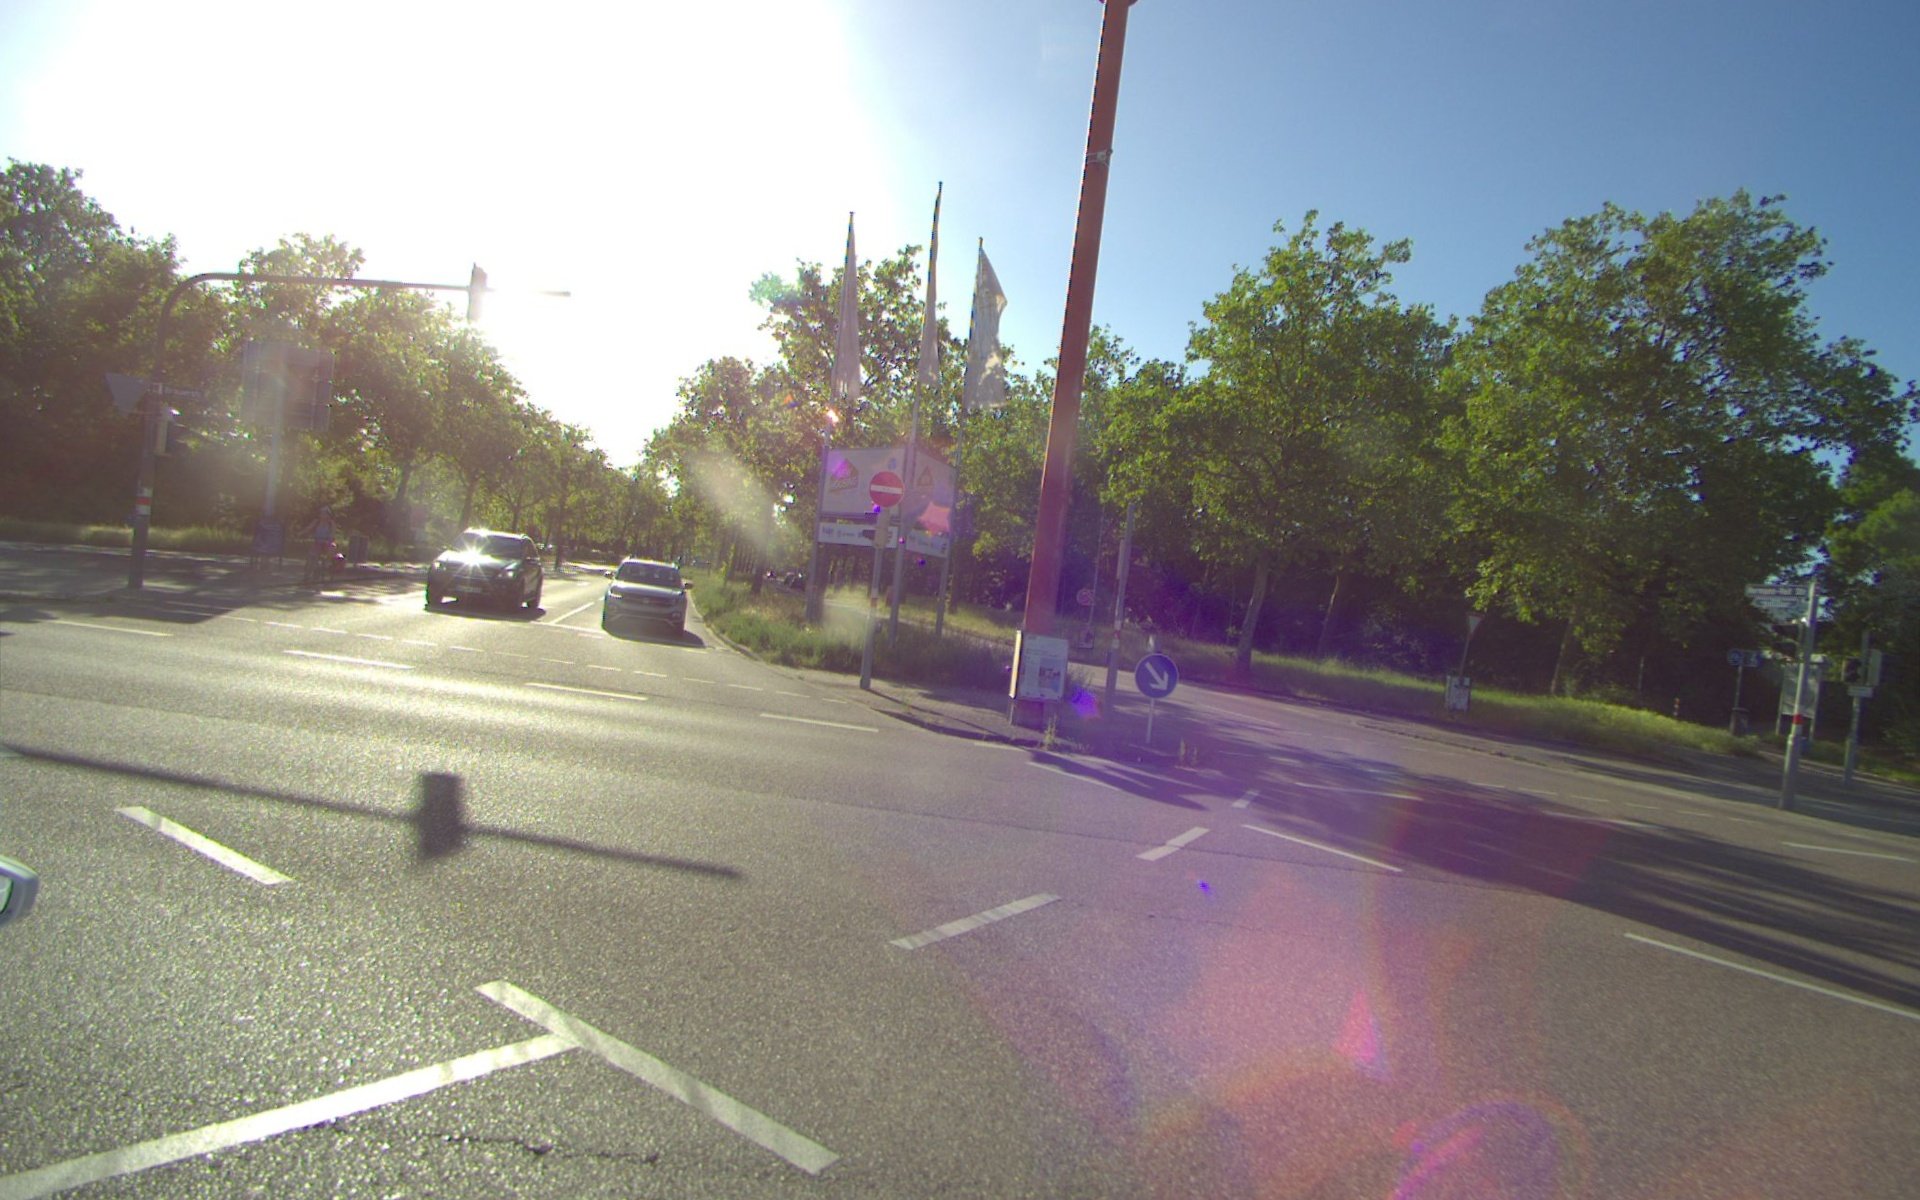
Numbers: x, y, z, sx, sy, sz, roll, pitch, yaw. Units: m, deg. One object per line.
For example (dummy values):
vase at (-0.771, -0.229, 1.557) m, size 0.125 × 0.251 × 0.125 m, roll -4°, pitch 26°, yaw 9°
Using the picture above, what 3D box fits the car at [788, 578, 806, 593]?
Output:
car at (-19.095, -1.658, 117.519) m, size 1.767 × 1.405 × 4.038 m, roll 8°, pitch 1°, yaw -12°

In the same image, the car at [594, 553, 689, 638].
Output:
car at (-7.196, -0.166, 22.934) m, size 1.746 × 1.558 × 4.075 m, roll 7°, pitch 1°, yaw -16°

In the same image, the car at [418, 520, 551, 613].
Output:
car at (-11.041, -0.801, 23.719) m, size 1.879 × 1.748 × 4.636 m, roll 7°, pitch 1°, yaw -15°

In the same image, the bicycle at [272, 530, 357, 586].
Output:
bicycle at (-14.385, -0.944, 22.501) m, size 0.753 × 1.105 × 2.010 m, roll 7°, pitch 2°, yaw -9°

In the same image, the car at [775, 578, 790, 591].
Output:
car at (-26.479, -2.337, 150.032) m, size 1.849 × 1.646 × 3.989 m, roll 8°, pitch -1°, yaw -14°

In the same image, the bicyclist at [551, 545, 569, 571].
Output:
bicyclist at (-24.578, -2.573, 61.801) m, size 0.725 × 1.455 × 0.963 m, roll 6°, pitch 2°, yaw -12°

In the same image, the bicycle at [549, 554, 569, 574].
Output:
bicycle at (-24.613, -2.219, 61.759) m, size 0.725 × 1.105 × 2.010 m, roll 6°, pitch 1°, yaw -12°

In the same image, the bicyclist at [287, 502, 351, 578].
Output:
bicyclist at (-14.361, -1.340, 22.562) m, size 0.748 × 1.578 × 0.979 m, roll 6°, pitch 2°, yaw -9°
